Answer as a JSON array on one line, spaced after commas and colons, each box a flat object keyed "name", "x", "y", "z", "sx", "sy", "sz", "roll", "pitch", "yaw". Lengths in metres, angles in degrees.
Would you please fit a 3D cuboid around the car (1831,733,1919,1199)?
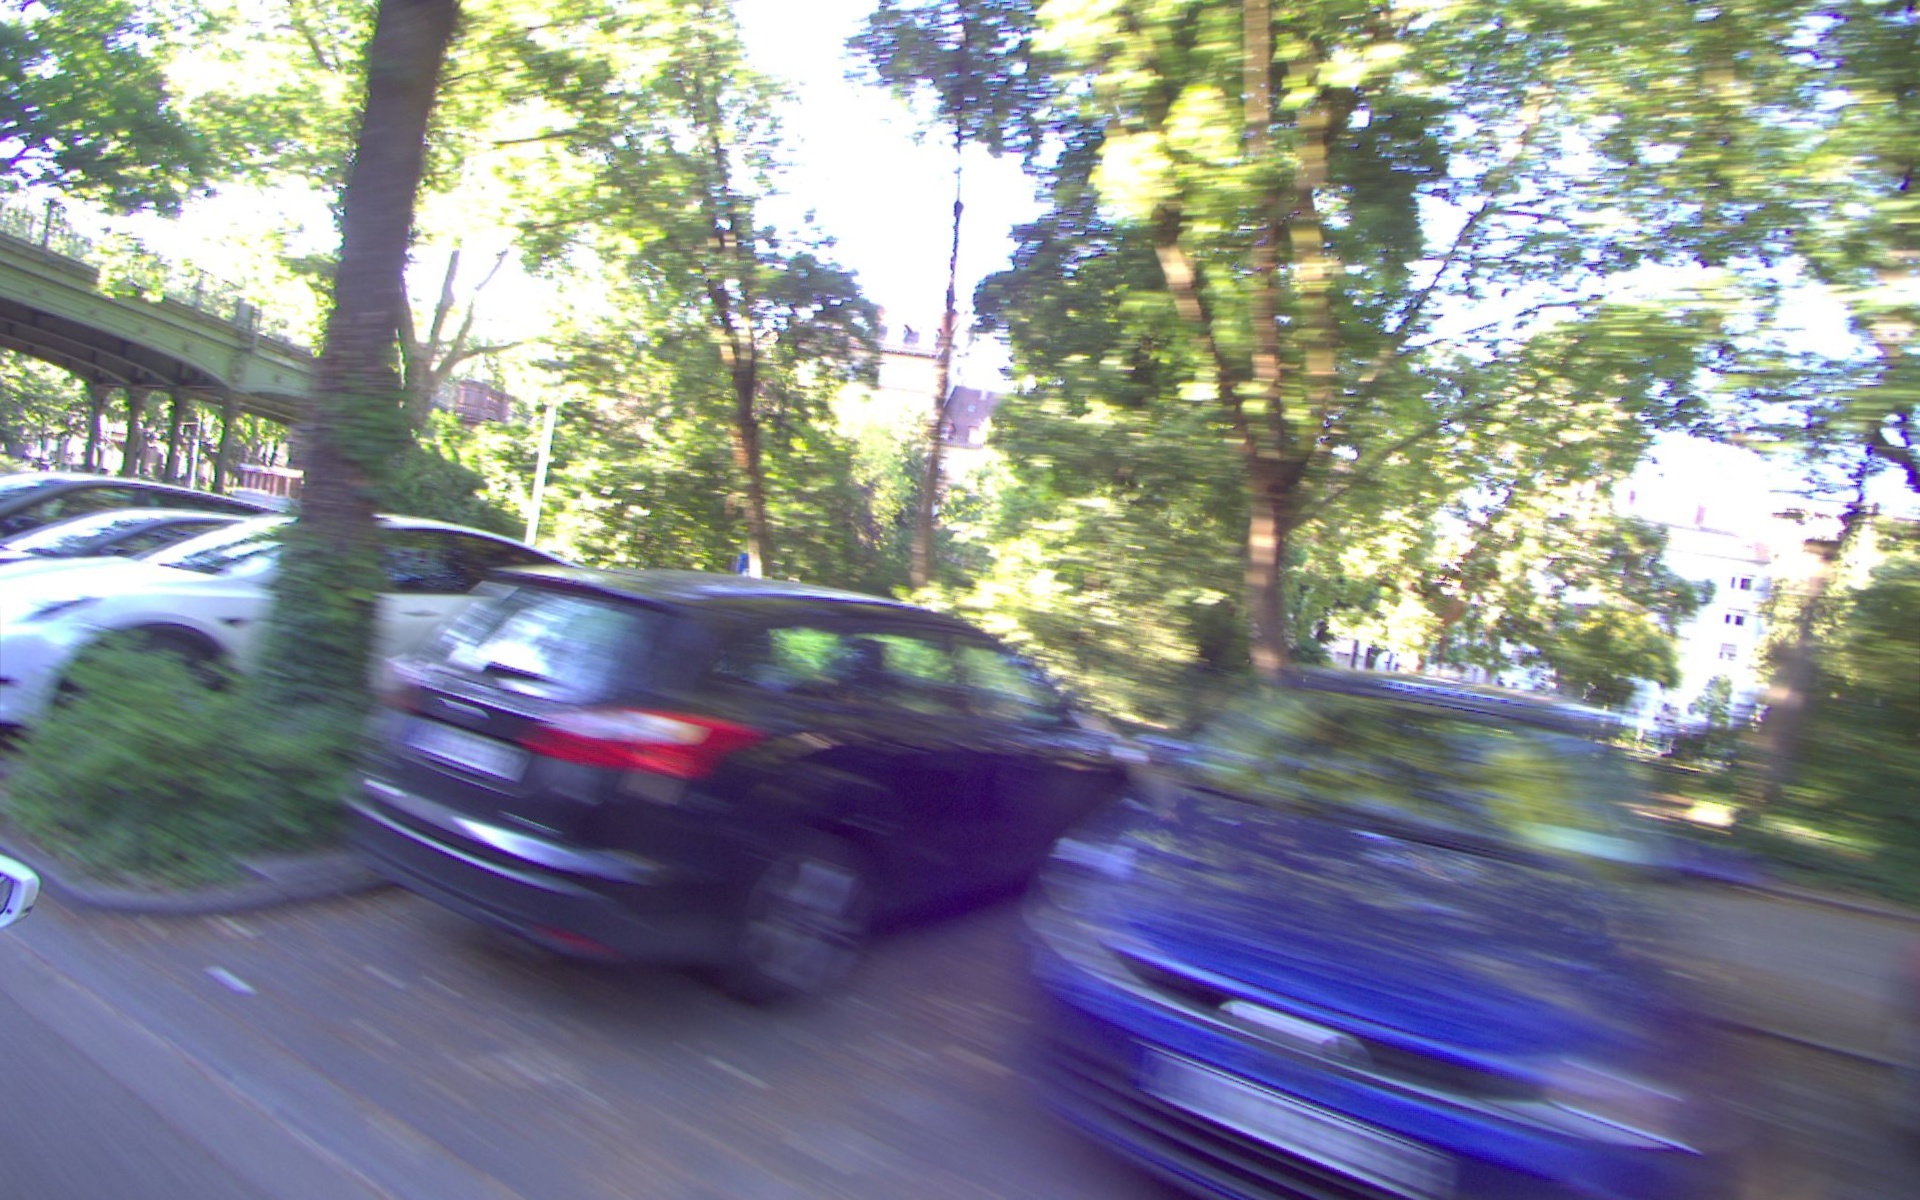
[{"name": "car", "x": 3.560, "y": 1.240, "z": 2.305, "sx": 1.561, "sy": 1.592, "sz": 3.996, "roll": 7, "pitch": -2, "yaw": 32}]

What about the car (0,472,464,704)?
[{"name": "car", "x": -6.889, "y": -0.076, "z": 8.526, "sx": 1.845, "sy": 1.550, "sz": 4.384, "roll": 7, "pitch": -2, "yaw": 32}]

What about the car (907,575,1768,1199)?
[{"name": "car", "x": 1.652, "y": 1.020, "z": 3.839, "sx": 1.561, "sy": 1.592, "sz": 3.996, "roll": 7, "pitch": -2, "yaw": 32}]

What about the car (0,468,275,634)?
[{"name": "car", "x": -10.920, "y": -0.663, "z": 11.605, "sx": 1.708, "sy": 1.625, "sz": 4.587, "roll": 7, "pitch": -1, "yaw": 37}]

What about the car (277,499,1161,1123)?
[{"name": "car", "x": -0.576, "y": 0.732, "z": 4.801, "sx": 1.561, "sy": 1.592, "sz": 4.029, "roll": 7, "pitch": -2, "yaw": 32}]

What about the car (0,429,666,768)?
[{"name": "car", "x": -4.626, "y": 0.124, "z": 7.301, "sx": 1.876, "sy": 1.715, "sz": 4.542, "roll": 7, "pitch": -2, "yaw": 32}]

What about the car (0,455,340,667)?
[{"name": "car", "x": -8.945, "y": -0.432, "z": 9.852, "sx": 1.874, "sy": 1.728, "sz": 4.386, "roll": 7, "pitch": -2, "yaw": 29}]

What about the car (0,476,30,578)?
[{"name": "car", "x": -17.091, "y": -1.475, "z": 14.963, "sx": 1.647, "sy": 1.595, "sz": 4.384, "roll": 7, "pitch": -2, "yaw": 32}]
